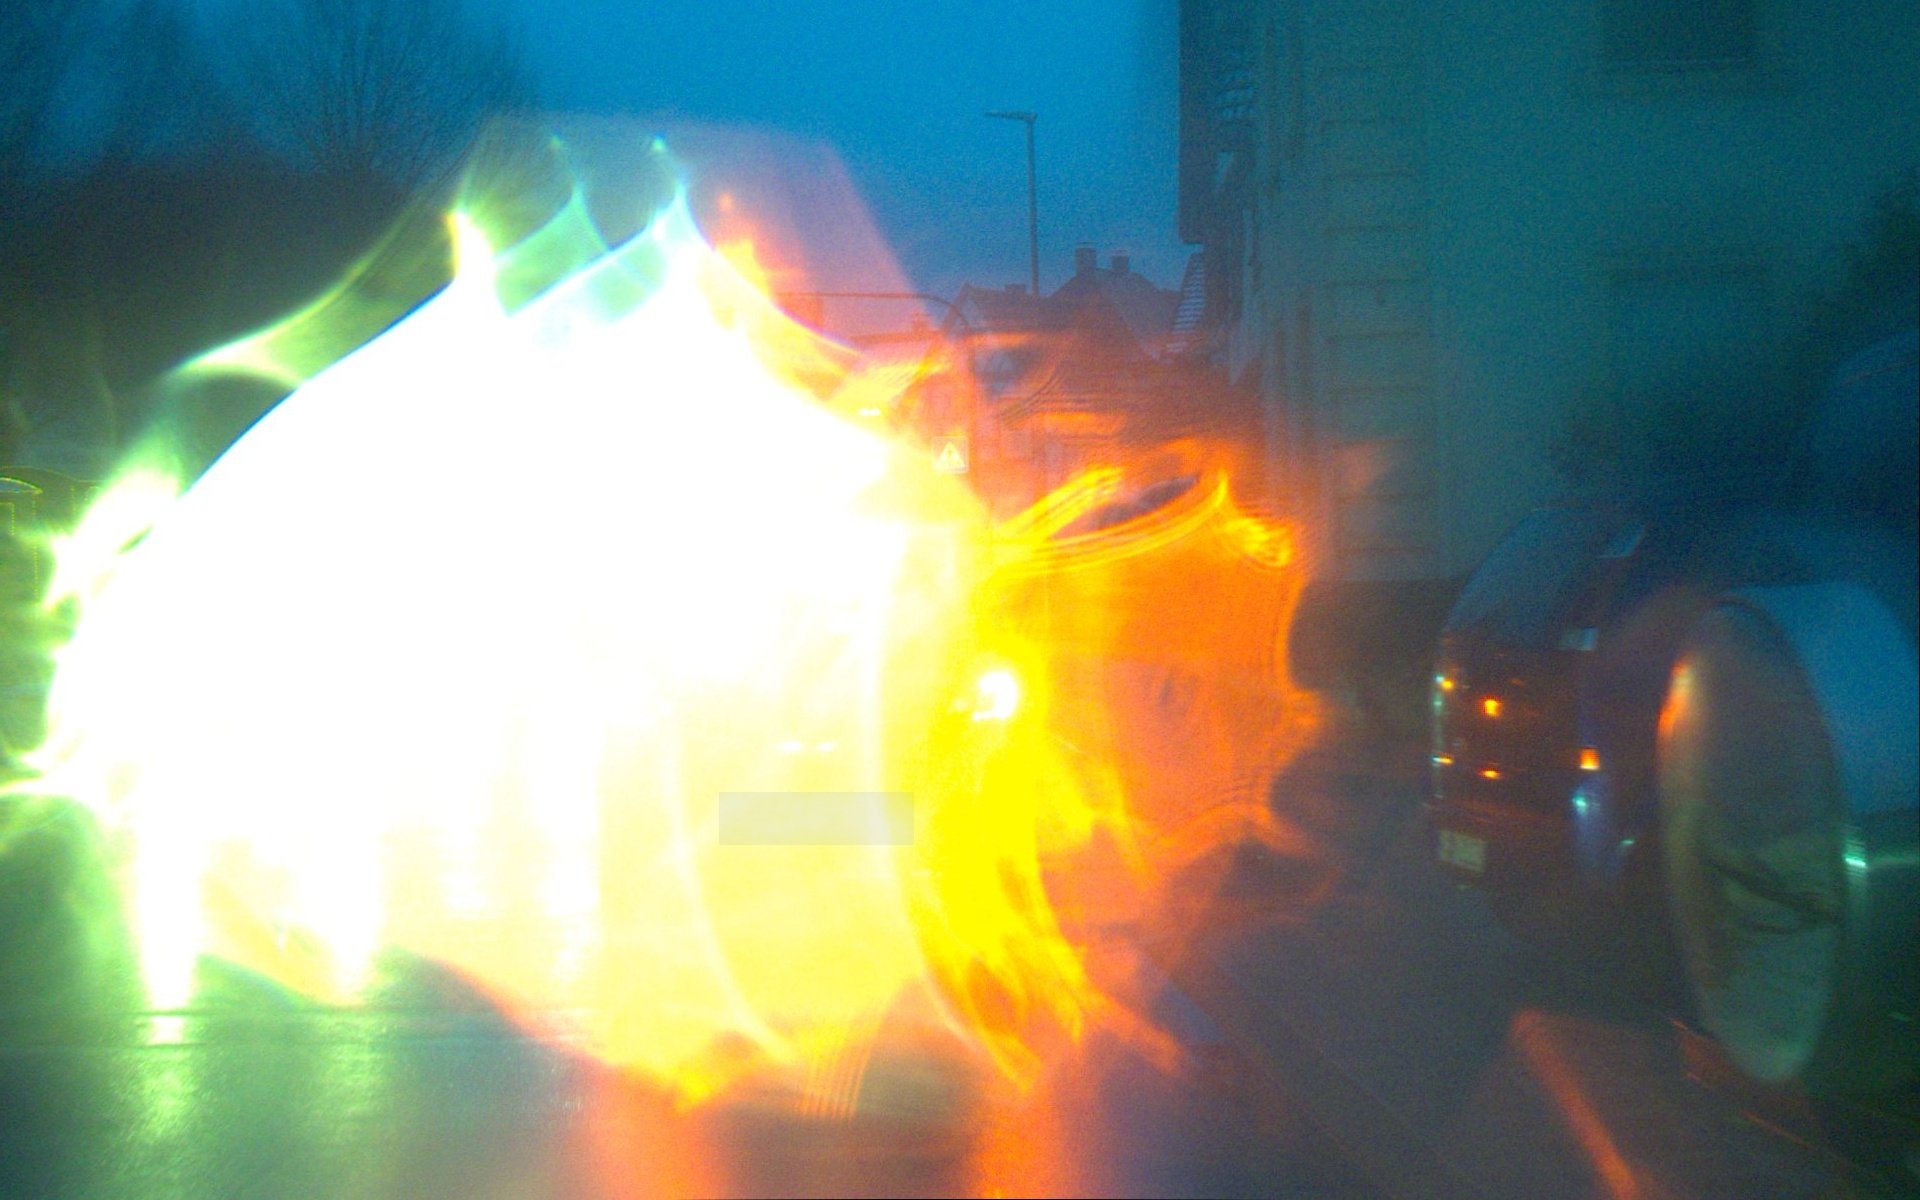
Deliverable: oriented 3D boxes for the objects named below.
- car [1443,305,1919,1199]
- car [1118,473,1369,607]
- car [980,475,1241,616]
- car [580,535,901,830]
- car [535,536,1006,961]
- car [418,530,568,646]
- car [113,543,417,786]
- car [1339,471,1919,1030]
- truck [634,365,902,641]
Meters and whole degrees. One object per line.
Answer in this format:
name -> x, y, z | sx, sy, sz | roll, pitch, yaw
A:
car -> 3.314, 0.398, 5.619 | 4.603, 1.769, 1.946 | -2, 2, -6
car -> 4.766, -1.010, 57.799 | 4.098, 2.144, 1.913 | -1, 1, 5
car -> 2.454, -0.885, 55.426 | 4.098, 2.155, 1.913 | -1, 1, 5
car -> -1.214, 0.394, 19.342 | 1.638, 1.476, 3.272 | 0, 2, -3
car -> -0.734, 0.490, 13.750 | 1.638, 1.476, 3.379 | 0, 1, -2
car -> -6.921, -0.213, 51.311 | 1.810, 1.590, 4.400 | -1, 2, -3
car -> -4.762, 0.385, 23.947 | 1.638, 1.530, 3.407 | -1, 1, -4
car -> 3.333, 0.373, 11.026 | 3.869, 1.574, 1.682 | -2, 1, -7
truck -> -2.514, -1.201, 43.141 | 3.015, 3.118, 8.002 | -1, 1, -5
